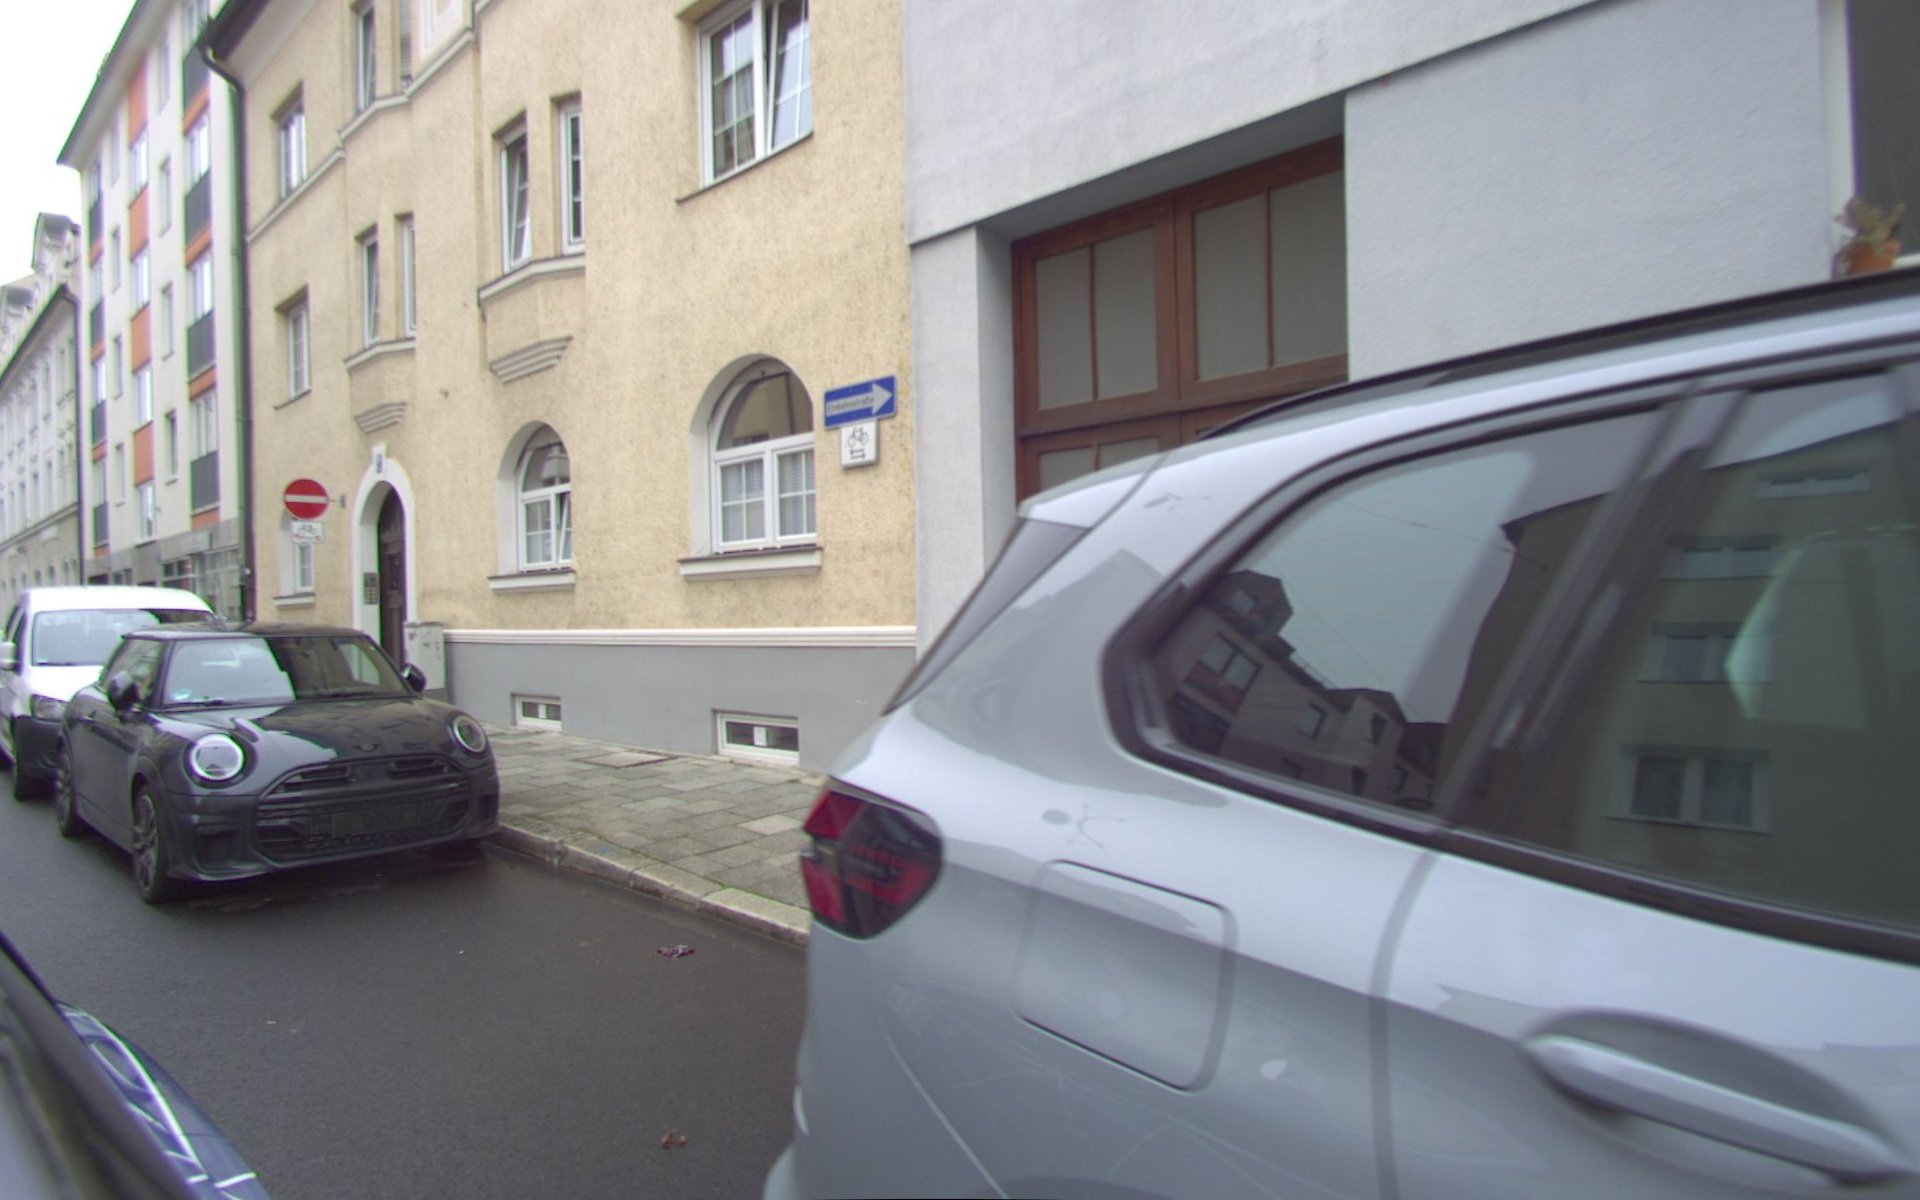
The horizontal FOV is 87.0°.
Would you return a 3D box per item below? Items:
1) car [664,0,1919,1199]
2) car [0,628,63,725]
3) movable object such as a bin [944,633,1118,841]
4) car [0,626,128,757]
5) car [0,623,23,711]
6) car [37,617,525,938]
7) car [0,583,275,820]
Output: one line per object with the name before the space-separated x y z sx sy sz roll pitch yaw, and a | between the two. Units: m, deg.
car | 2.008 0.535 0.504 4.731 1.783 1.844 -2 -3 40
car | -16.227 1.223 16.715 3.839 1.486 1.611 -2 -3 41
movable object such as a bin | 0.434 0.765 6.035 0.622 1.059 0.799 -2 4 41
car | -12.269 1.094 13.136 4.111 1.486 1.654 -2 -2 42
car | -19.659 1.270 19.424 4.302 1.617 1.764 -2 -2 38
car | -4.450 0.838 6.423 3.733 1.422 1.634 0 -1 41
car | -8.204 0.797 9.768 4.249 1.802 1.705 0 -2 43
